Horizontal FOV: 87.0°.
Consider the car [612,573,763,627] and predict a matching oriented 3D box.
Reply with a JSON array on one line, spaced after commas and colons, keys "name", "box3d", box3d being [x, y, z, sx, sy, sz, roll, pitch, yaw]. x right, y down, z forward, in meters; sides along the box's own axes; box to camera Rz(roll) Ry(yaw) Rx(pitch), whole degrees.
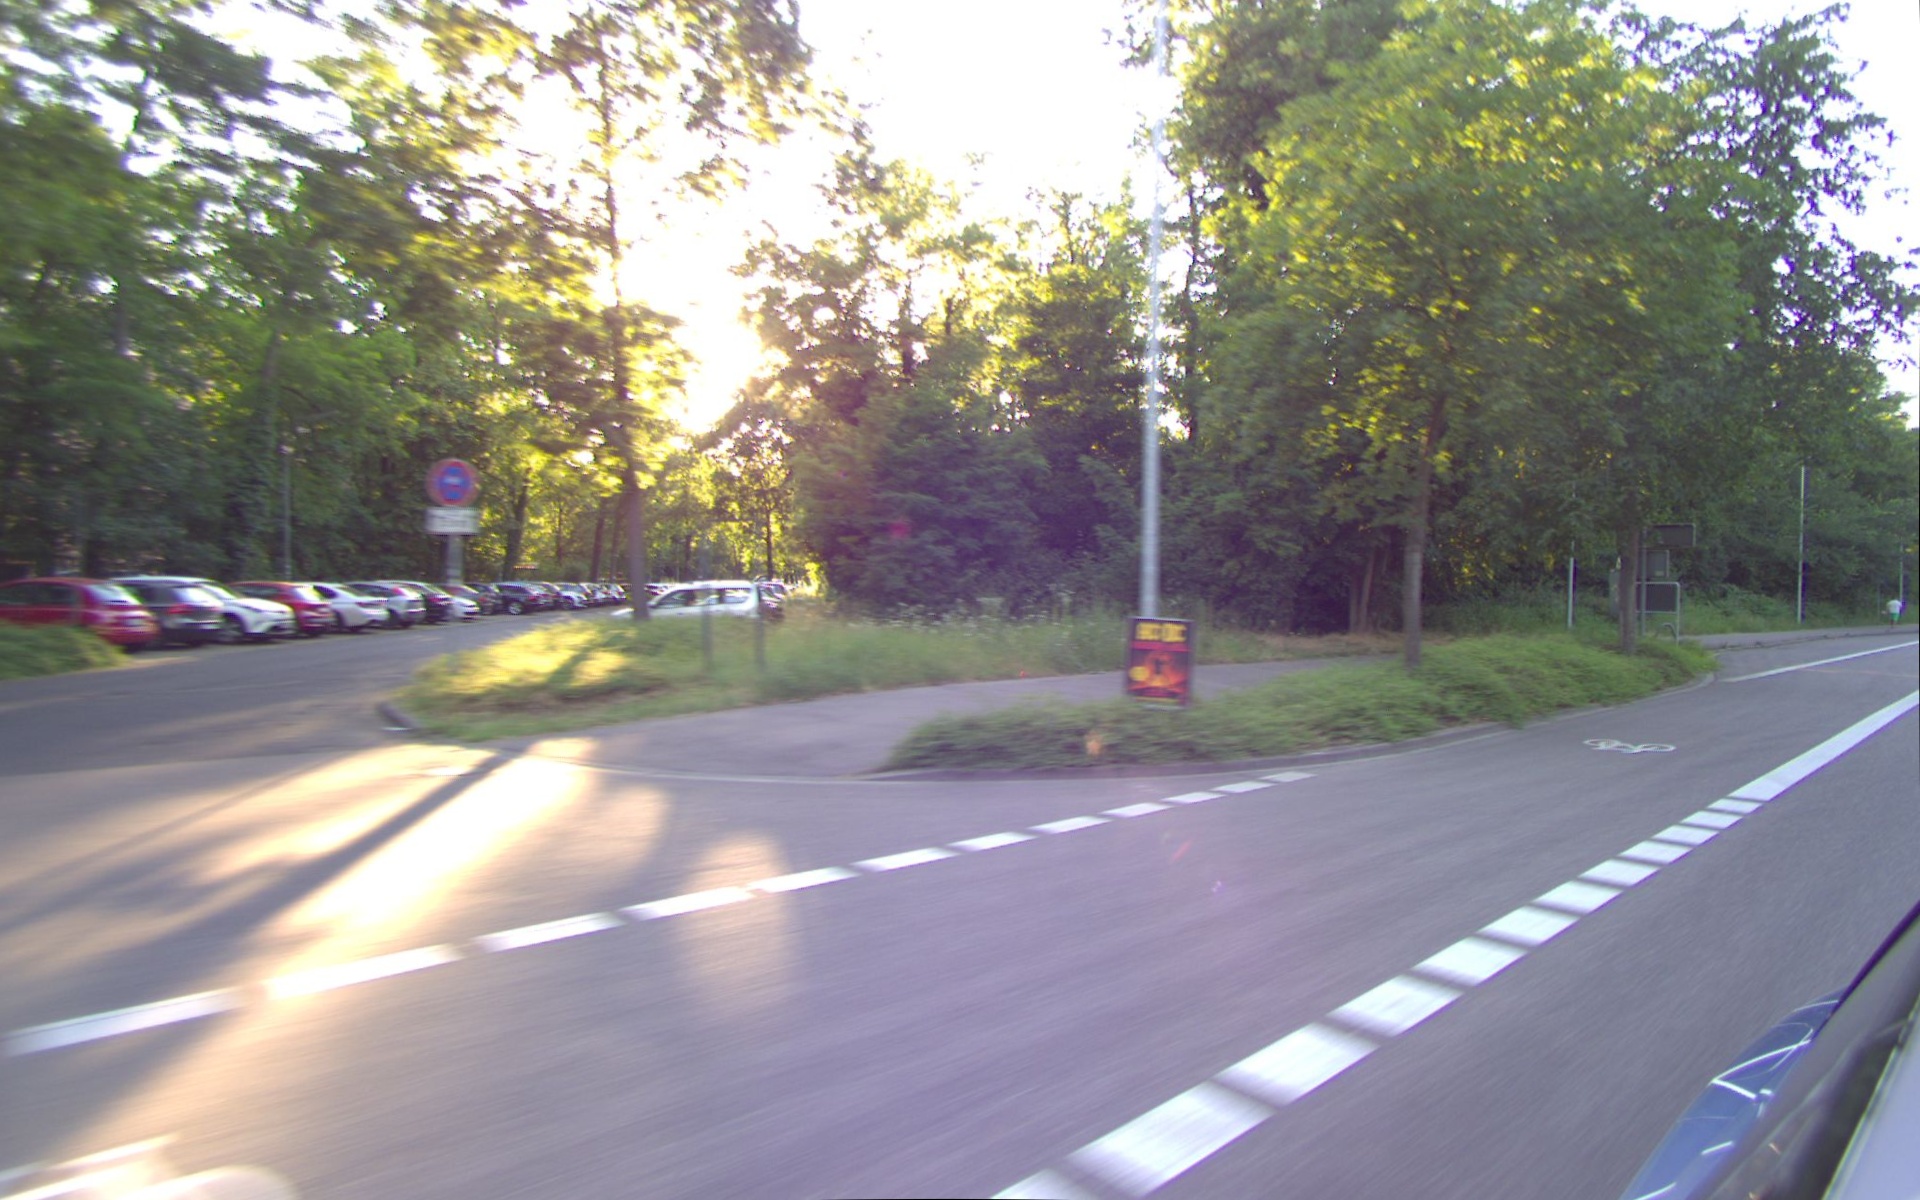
[{"name": "car", "box3d": [-7.419, 0.001, 27.841, 3.916, 1.414, 1.544, 1, 1, -11]}]

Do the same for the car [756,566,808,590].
[{"name": "car", "box3d": [-12.788, -1.569, 72.882, 3.569, 1.683, 1.544, 1, 1, -8]}]

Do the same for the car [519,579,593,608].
[{"name": "car", "box3d": [-22.612, -0.368, 56.780, 3.569, 1.533, 1.544, 1, 1, -7]}]

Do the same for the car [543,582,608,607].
[{"name": "car", "box3d": [-24.416, -0.383, 64.310, 3.569, 1.533, 1.544, 1, 1, -7]}]

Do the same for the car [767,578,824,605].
[{"name": "car", "box3d": [-10.623, -0.535, 65.368, 3.569, 1.683, 1.544, 1, 1, -8]}]

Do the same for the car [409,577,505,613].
[{"name": "car", "box3d": [-22.649, -0.222, 45.693, 3.569, 1.570, 1.544, 1, 1, -7]}]

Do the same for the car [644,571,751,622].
[{"name": "car", "box3d": [-9.234, -0.140, 35.816, 3.567, 1.728, 1.544, 1, 1, -11]}]

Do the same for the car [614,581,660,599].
[{"name": "car", "box3d": [-28.065, -0.881, 87.985, 3.569, 1.533, 1.544, 1, 1, -7]}]

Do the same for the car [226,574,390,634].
[{"name": "car", "box3d": [-19.079, 0.097, 29.734, 3.762, 1.667, 1.544, 1, 1, -7]}]

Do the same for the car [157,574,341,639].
[{"name": "car", "box3d": [-19.027, 0.163, 27.196, 3.762, 1.667, 1.544, 1, 1, -7]}]

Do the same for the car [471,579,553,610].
[{"name": "car", "box3d": [-23.016, -0.291, 52.077, 3.569, 1.570, 1.544, 1, 1, -7]}]

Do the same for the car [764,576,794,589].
[{"name": "car", "box3d": [-22.515, -2.224, 126.095, 3.569, 1.533, 1.544, 1, 1, -7]}]

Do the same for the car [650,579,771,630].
[{"name": "car", "box3d": [-7.697, 0.142, 31.445, 3.567, 1.501, 1.544, 1, 0, -11]}]

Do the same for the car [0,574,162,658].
[{"name": "car", "box3d": [-18.537, 0.293, 20.260, 3.762, 1.605, 1.544, 1, 1, -7]}]

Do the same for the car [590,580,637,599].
[{"name": "car", "box3d": [-29.093, -0.900, 85.038, 3.569, 1.533, 1.544, 1, 1, -7]}]

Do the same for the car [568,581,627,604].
[{"name": "car", "box3d": [-25.105, -0.542, 70.147, 3.569, 1.533, 1.544, 1, 1, -7]}]

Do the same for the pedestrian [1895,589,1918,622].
[{"name": "pedestrian", "box3d": [51.690, 0.281, 55.251, 0.713, 1.773, 0.840, 1, 0, -40]}]

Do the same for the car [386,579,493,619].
[{"name": "car", "box3d": [-21.300, -0.049, 41.508, 3.569, 1.570, 1.544, 1, 1, -7]}]

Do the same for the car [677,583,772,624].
[{"name": "car", "box3d": [-9.212, 0.138, 39.808, 3.567, 1.563, 1.544, 1, 1, -11]}]

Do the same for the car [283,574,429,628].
[{"name": "car", "box3d": [-19.441, 0.031, 32.701, 3.762, 1.667, 1.544, 1, 1, -7]}]

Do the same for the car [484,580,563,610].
[{"name": "car", "box3d": [-23.309, -0.284, 54.138, 3.569, 1.570, 1.544, 1, 1, -7]}]

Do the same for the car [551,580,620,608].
[{"name": "car", "box3d": [-21.920, -0.362, 59.315, 3.569, 1.533, 1.544, 1, 1, -7]}]

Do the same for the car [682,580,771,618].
[{"name": "car", "box3d": [-9.773, -0.053, 42.543, 3.567, 1.563, 1.544, 1, 1, -11]}]

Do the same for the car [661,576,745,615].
[{"name": "car", "box3d": [-11.449, -0.230, 45.275, 3.567, 1.683, 1.544, 1, 1, -11]}]

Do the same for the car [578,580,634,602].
[{"name": "car", "box3d": [-25.663, -0.668, 73.432, 3.569, 1.533, 1.544, 1, 1, -7]}]

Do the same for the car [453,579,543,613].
[{"name": "car", "box3d": [-21.831, -0.194, 47.931, 3.569, 1.570, 1.544, 1, 1, -7]}]

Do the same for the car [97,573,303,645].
[{"name": "car", "box3d": [-18.510, 0.208, 24.776, 3.762, 1.667, 1.544, 1, 1, -7]}]

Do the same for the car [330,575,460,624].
[{"name": "car", "box3d": [-20.178, -0.032, 36.238, 3.762, 1.667, 1.544, 1, 1, -7]}]

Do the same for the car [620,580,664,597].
[{"name": "car", "box3d": [-28.620, -1.031, 91.210, 3.569, 1.533, 1.544, 1, 1, -7]}]

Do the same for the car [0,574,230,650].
[{"name": "car", "box3d": [-18.608, 0.247, 22.332, 3.762, 1.605, 1.544, 1, 1, -7]}]

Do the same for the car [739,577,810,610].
[{"name": "car", "box3d": [-9.726, -0.344, 53.005, 3.567, 1.683, 1.544, 1, 1, -11]}]

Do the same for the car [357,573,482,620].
[{"name": "car", "box3d": [-20.786, -0.142, 39.029, 3.913, 1.667, 1.544, 1, 1, -7]}]
